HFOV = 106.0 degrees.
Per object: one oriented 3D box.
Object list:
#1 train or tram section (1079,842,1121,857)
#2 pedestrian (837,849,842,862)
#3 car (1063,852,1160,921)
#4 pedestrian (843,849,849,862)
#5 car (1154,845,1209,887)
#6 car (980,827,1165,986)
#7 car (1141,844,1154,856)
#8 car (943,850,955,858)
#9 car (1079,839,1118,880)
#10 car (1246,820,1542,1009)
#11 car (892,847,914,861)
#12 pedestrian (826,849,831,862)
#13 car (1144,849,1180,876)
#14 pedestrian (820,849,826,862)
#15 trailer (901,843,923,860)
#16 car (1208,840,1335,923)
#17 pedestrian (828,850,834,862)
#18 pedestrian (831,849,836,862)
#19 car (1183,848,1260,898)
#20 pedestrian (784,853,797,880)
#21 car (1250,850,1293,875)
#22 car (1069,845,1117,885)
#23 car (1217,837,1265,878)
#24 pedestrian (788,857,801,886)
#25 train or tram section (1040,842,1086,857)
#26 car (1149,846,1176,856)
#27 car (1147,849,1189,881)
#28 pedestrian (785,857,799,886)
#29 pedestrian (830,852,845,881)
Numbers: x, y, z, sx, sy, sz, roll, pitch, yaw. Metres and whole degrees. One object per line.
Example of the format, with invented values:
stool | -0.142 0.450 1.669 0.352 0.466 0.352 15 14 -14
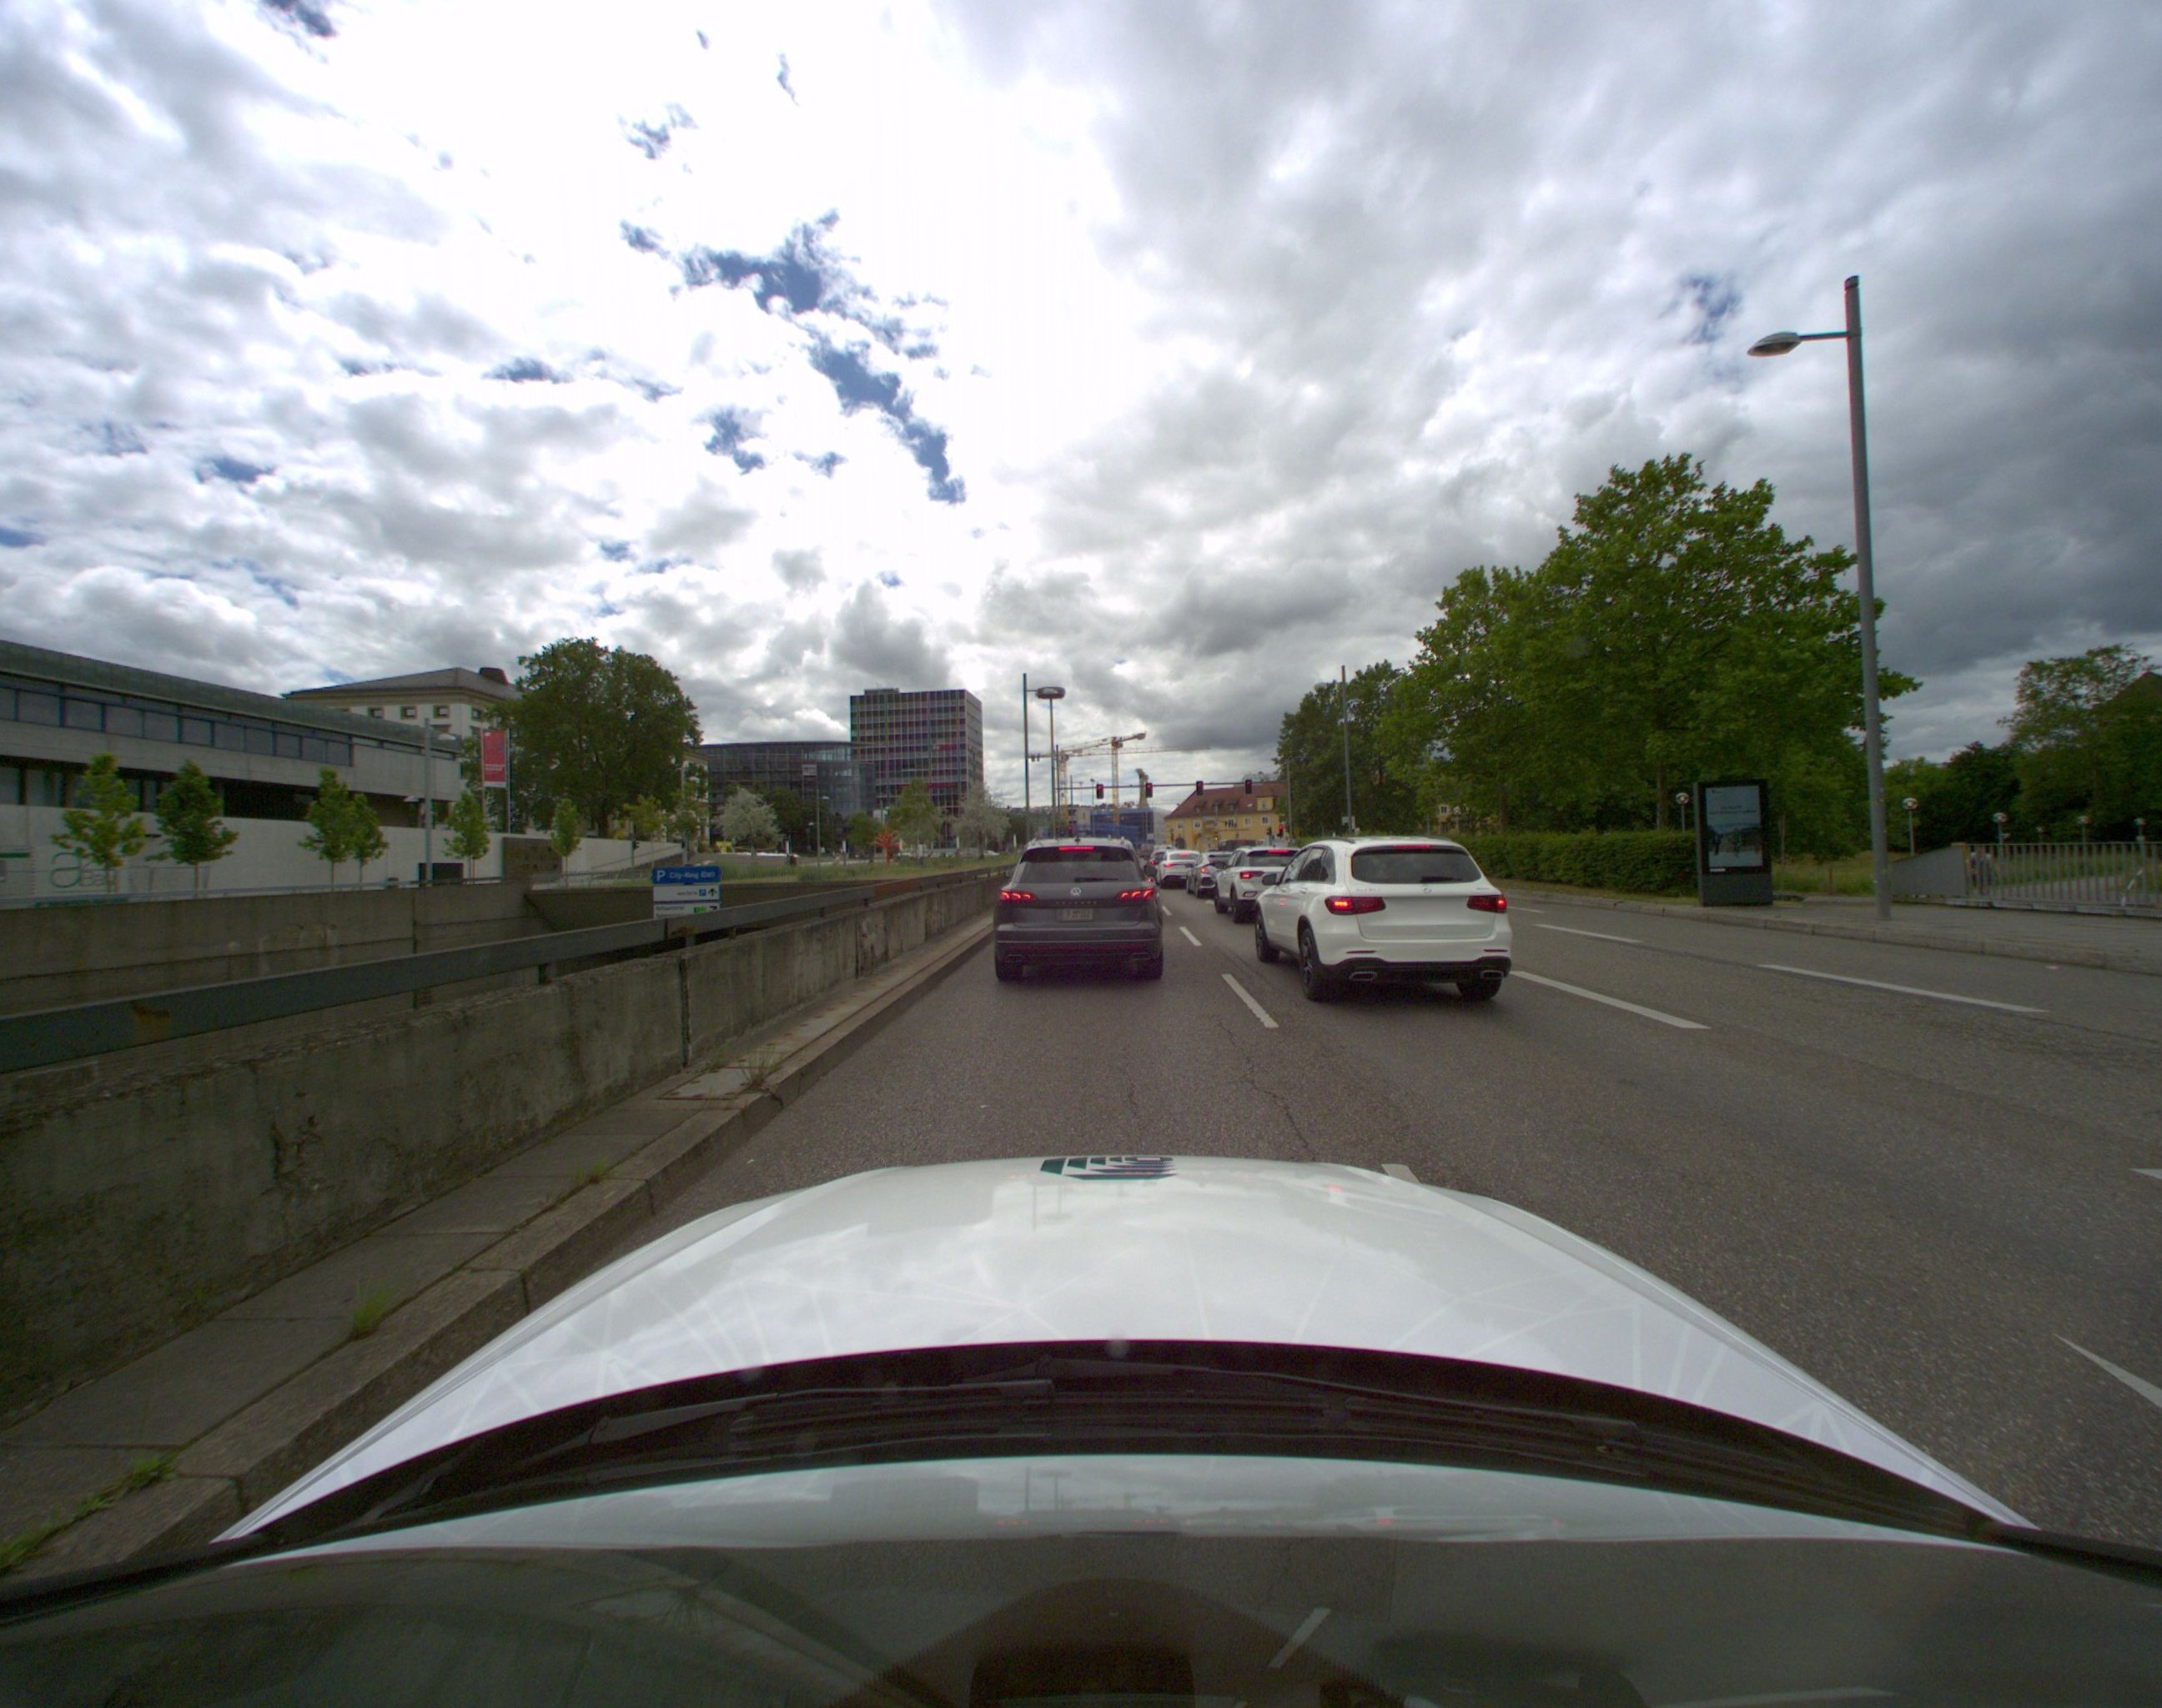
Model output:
train or tram section | 3.955 -0.948 172.738 8.835 3.009 2.613 0 -2 34
pedestrian | -38.604 0.207 130.213 0.740 2.013 0.788 -2 1 -18
car | 0.677 0.658 18.411 1.944 1.384 3.932 0 0 1
pedestrian | -38.129 0.256 132.042 0.740 2.013 1.108 -2 1 -18
car | 3.974 0.468 32.820 1.918 1.529 4.493 -1 -1 3
car | -0.035 0.558 10.678 1.944 1.651 4.001 -1 0 1
car | 9.388 -0.521 115.319 1.612 1.627 4.002 0 -1 3
car | -25.640 0.038 158.105 1.727 1.495 3.594 0 -1 0
car | 0.926 0.266 42.509 1.944 2.018 3.932 0 0 1
car | 3.231 0.517 9.486 1.918 1.653 4.493 -1 1 3
car | -26.494 -0.010 121.169 1.985 2.013 4.695 -1 1 2
pedestrian | -40.797 0.218 131.686 0.740 2.013 0.788 -2 1 -18
car | 4.700 0.484 47.922 1.918 1.529 4.051 -1 -1 3
pedestrian | -41.805 0.216 131.907 0.740 2.013 0.788 -2 1 -18
trailer | -26.137 -0.378 126.247 2.030 2.604 5.511 0 1 2
car | 3.975 0.543 17.737 1.918 1.550 4.493 -1 -1 3
pedestrian | -42.478 0.296 138.230 0.735 2.013 0.793 -2 1 2
pedestrian | -39.492 0.196 129.958 0.740 2.013 1.108 -2 1 -18
car | 4.398 0.580 26.080 1.918 1.432 4.493 -1 -1 3
pedestrian | -22.719 0.953 63.794 0.729 2.012 0.628 -2 5 -6
car | 11.534 0.496 49.519 1.751 1.447 3.633 0 0 1
car | 0.541 0.444 34.935 1.944 1.599 3.932 0 0 1
car | 8.348 0.195 42.865 1.902 2.014 4.014 0 0 3
pedestrian | -20.900 1.265 59.409 0.794 2.013 0.830 -2 1 -26
train or tram section | -4.012 -0.915 178.107 10.294 3.009 2.613 0 -2 34
car | 13.717 -0.551 137.164 4.060 1.610 1.841 0 -2 37
car | 4.393 0.543 41.636 1.918 1.529 4.051 -1 -1 3
pedestrian | -20.839 1.252 58.689 0.794 2.013 0.830 -2 1 -26
pedestrian | -17.656 0.915 59.072 0.857 2.013 0.629 -2 1 1
